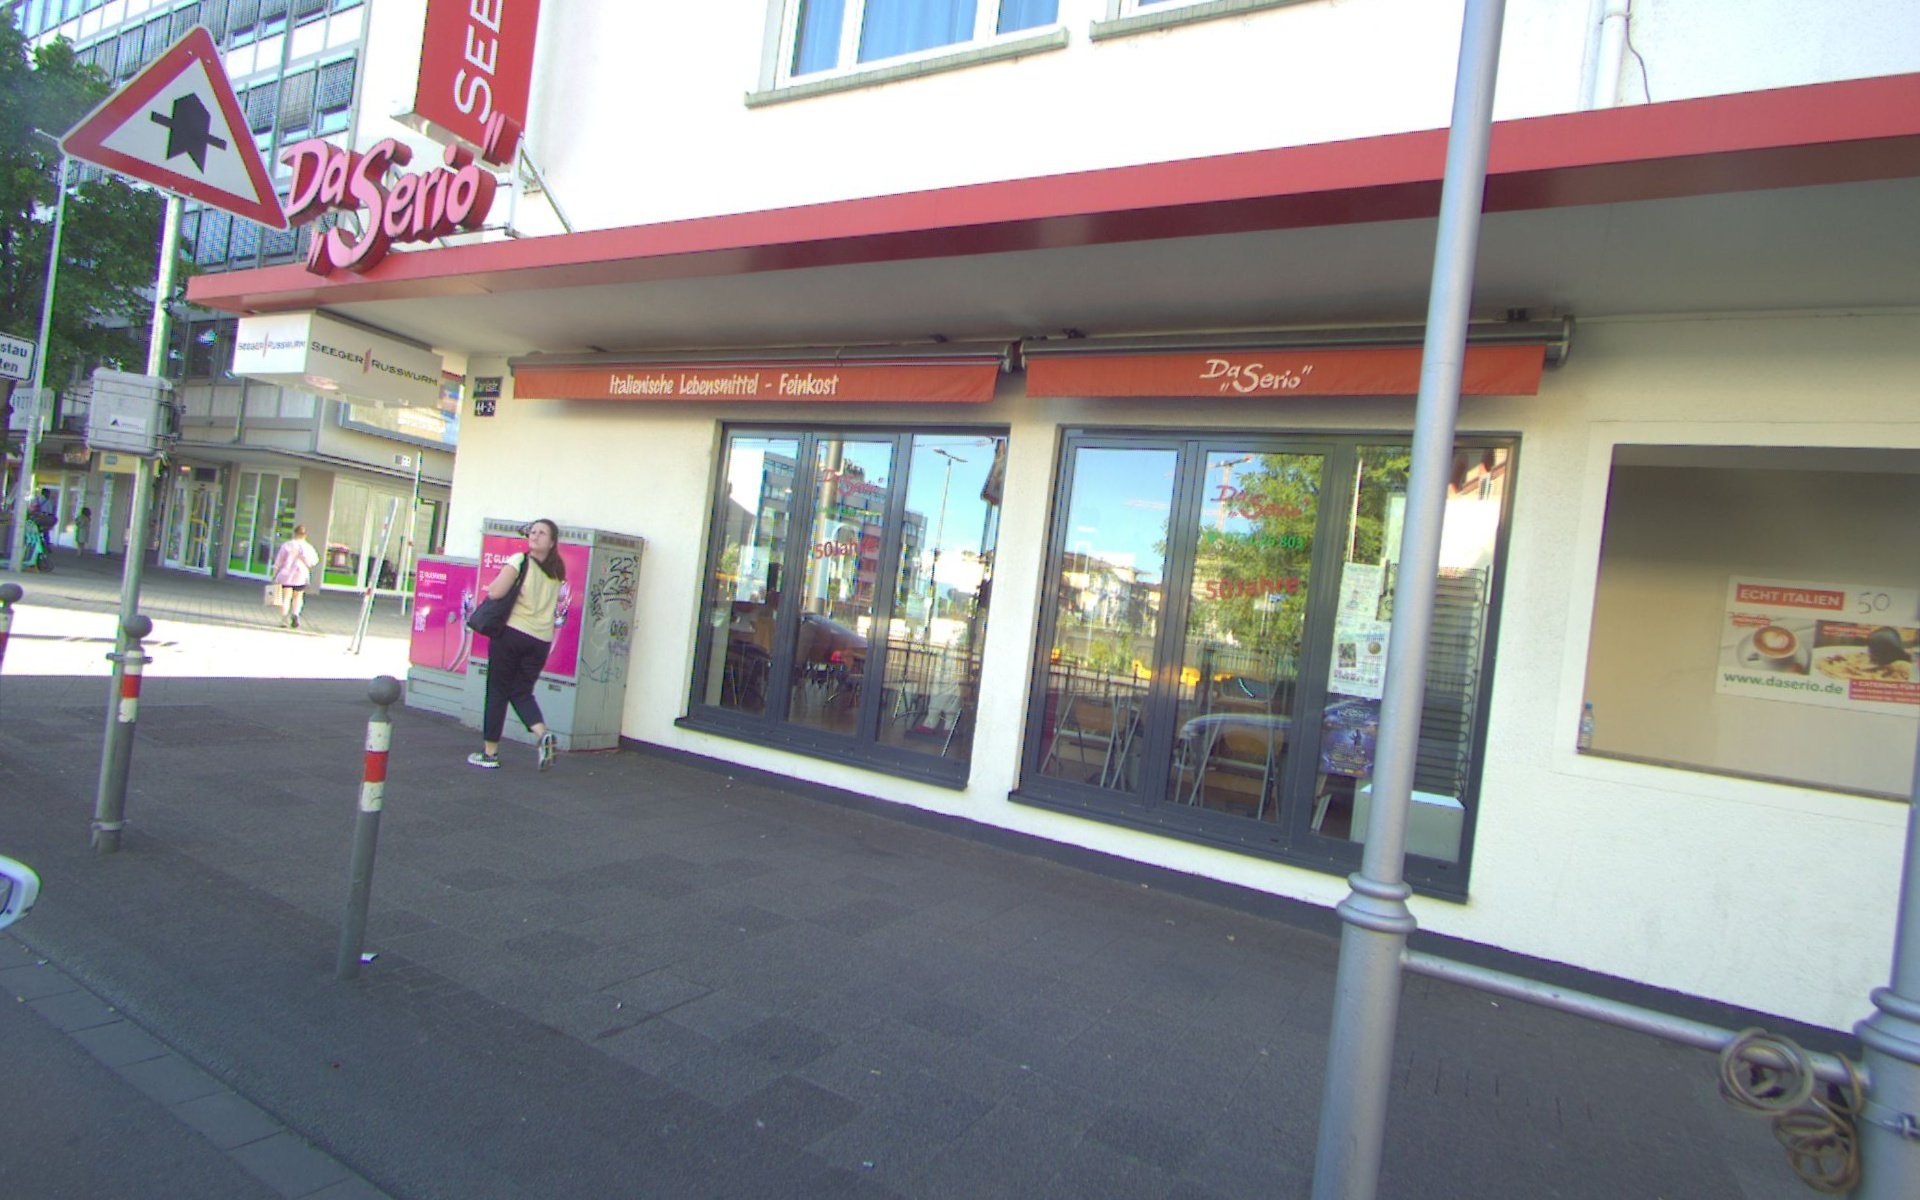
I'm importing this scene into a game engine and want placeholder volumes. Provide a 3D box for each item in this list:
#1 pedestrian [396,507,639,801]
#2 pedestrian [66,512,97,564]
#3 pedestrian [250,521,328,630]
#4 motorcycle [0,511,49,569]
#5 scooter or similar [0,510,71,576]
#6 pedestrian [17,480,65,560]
[{"bbox_3d":[-3.008,0.352,6.872,1.021,1.773,0.916,7,0,30],"label":"pedestrian"},{"bbox_3d":[-24.218,-1.706,27.724,0.504,1.359,0.390,6,-1,34],"label":"pedestrian"},{"bbox_3d":[-11.224,-0.406,16.843,0.884,1.687,0.801,8,-1,-35],"label":"pedestrian"},{"bbox_3d":[-21.568,-1.407,22.400,0.532,1.186,1.711,7,-2,30],"label":"motorcycle"},{"bbox_3d":[-19.939,-1.229,21.171,1.628,1.229,0.640,8,-2,-29],"label":"scooter or similar"},{"bbox_3d":[-24.934,-2.165,27.291,0.570,2.037,0.663,6,-1,34],"label":"pedestrian"}]
